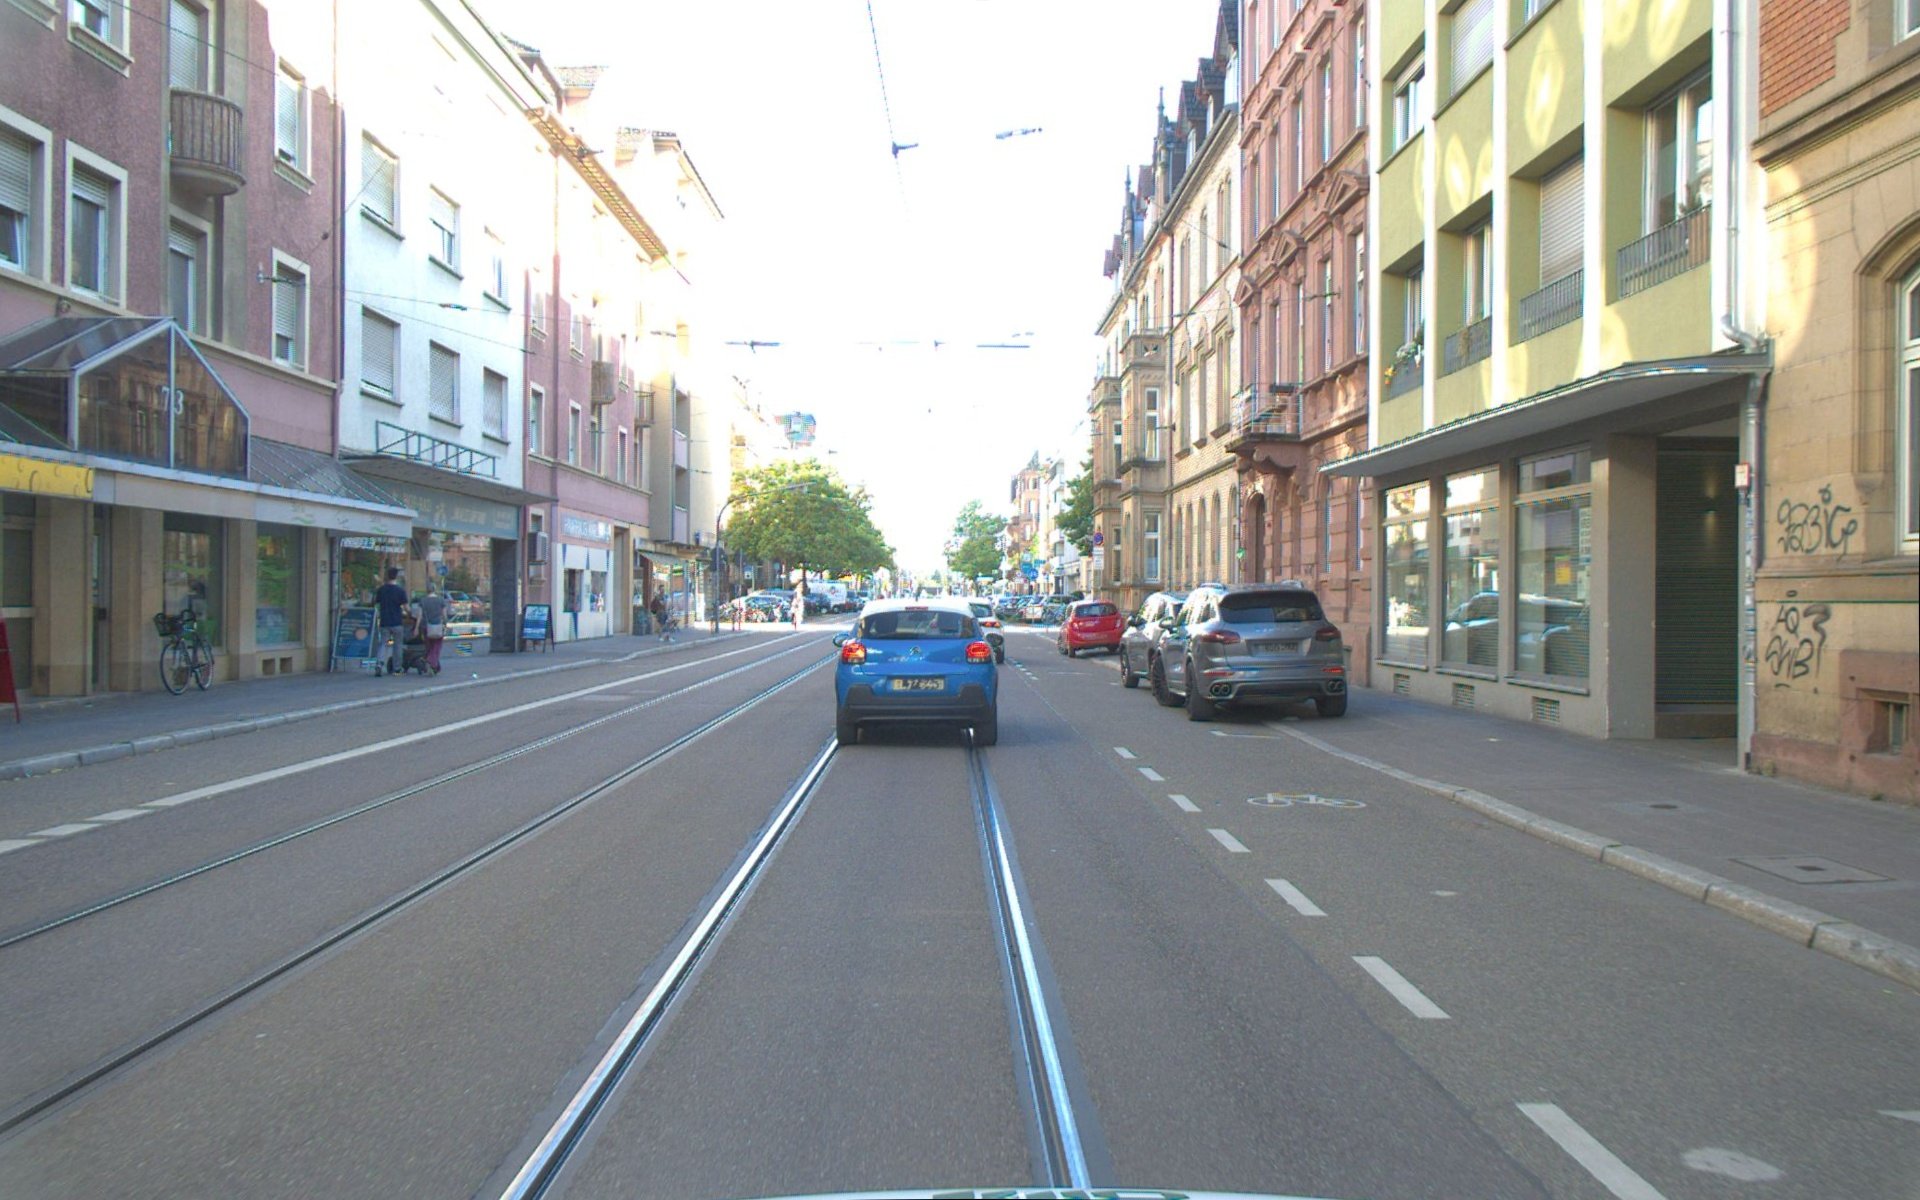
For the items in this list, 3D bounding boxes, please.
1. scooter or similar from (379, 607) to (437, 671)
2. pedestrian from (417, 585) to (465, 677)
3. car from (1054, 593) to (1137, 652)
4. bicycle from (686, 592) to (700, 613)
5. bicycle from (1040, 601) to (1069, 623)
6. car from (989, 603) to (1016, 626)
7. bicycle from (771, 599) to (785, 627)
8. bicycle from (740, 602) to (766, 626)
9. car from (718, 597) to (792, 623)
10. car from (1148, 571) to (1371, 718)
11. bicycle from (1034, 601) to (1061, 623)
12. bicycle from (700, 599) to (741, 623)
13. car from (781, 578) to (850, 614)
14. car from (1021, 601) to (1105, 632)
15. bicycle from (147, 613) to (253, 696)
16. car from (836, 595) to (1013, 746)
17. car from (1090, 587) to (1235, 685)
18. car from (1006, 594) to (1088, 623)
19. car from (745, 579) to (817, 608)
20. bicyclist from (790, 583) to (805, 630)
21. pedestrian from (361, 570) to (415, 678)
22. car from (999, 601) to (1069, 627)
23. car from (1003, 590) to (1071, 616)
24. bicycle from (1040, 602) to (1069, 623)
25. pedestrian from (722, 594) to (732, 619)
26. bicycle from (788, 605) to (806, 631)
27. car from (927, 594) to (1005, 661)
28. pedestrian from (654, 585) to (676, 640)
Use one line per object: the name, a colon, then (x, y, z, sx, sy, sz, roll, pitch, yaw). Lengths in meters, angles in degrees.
scooter or similar: (-9.757, 0.682, 29.267, 0.648, 1.080, 1.105, 1, 0, 0)
pedestrian: (-9.055, 0.541, 28.872, 0.623, 1.576, 0.623, 1, -1, -1)
car: (3.745, 0.610, 46.273, 1.828, 1.508, 4.400, -3, 0, -1)
bicycle: (-13.986, 0.130, 86.624, 0.397, 1.129, 1.825, 0, 0, -21)
bicycle: (5.046, 0.656, 88.284, 1.527, 1.147, 0.295, 1, -1, 6)
car: (3.088, 1.057, 122.284, 1.835, 1.624, 4.718, 1, 0, 0)
bicycle: (-9.487, 0.659, 86.202, 0.668, 1.342, 2.434, 1, 2, -5)
bicycle: (-10.862, 0.719, 86.806, 0.675, 1.143, 1.868, 0, 2, -31)
car: (-11.489, 0.557, 92.575, 3.746, 1.424, 1.734, 1, 0, -34)
car: (3.826, 0.537, 22.002, 1.953, 1.644, 4.785, -3, 0, -1)
bicycle: (4.551, 0.622, 85.937, 1.368, 1.147, 0.551, 1, -1, -1)
bicycle: (-12.497, 0.582, 86.268, 2.390, 1.128, 0.680, 3, 3, 40)
car: (-11.727, -0.330, 134.582, 5.315, 2.797, 1.787, 1, -1, -31)
car: (5.687, 0.916, 91.604, 4.297, 1.624, 1.838, 1, 0, -26)
bicycle: (-10.512, 0.734, 22.964, 0.416, 1.078, 2.329, 1, 0, -1)
car: (-0.382, 0.707, 18.117, 1.726, 1.466, 3.556, 1, 0, -1)
car: (3.684, 0.637, 30.842, 1.829, 1.675, 4.396, 1, 0, -5)
car: (5.114, 0.518, 97.353, 4.378, 1.624, 2.072, 1, 0, -26)
car: (-11.732, -0.390, 108.507, 4.313, 1.814, 1.973, 1, 0, -34)
bicyclist: (-7.249, 0.288, 73.829, 0.599, 2.049, 0.733, 1, -1, 0)
pedestrian: (-9.768, 0.404, 28.271, 0.613, 1.821, 0.821, 1, -1, -1)
car: (4.904, 0.936, 109.971, 4.249, 1.624, 1.966, 1, 0, -26)
car: (4.984, 0.198, 107.543, 3.937, 1.624, 2.071, 1, 0, -26)
bicycle: (5.012, 0.676, 87.962, 1.523, 1.098, 0.307, 1, -1, 6)
pedestrian: (-15.642, 0.434, 111.266, 0.557, 1.681, 0.641, 1, -1, -1)
bicycle: (-7.264, 0.780, 73.640, 0.590, 1.115, 2.044, -2, 0, 0)
car: (0.103, 0.628, 39.120, 1.726, 1.466, 3.556, 1, 0, -1)
pedestrian: (-9.271, 0.392, 51.993, 0.552, 1.715, 0.616, 1, -1, -2)
